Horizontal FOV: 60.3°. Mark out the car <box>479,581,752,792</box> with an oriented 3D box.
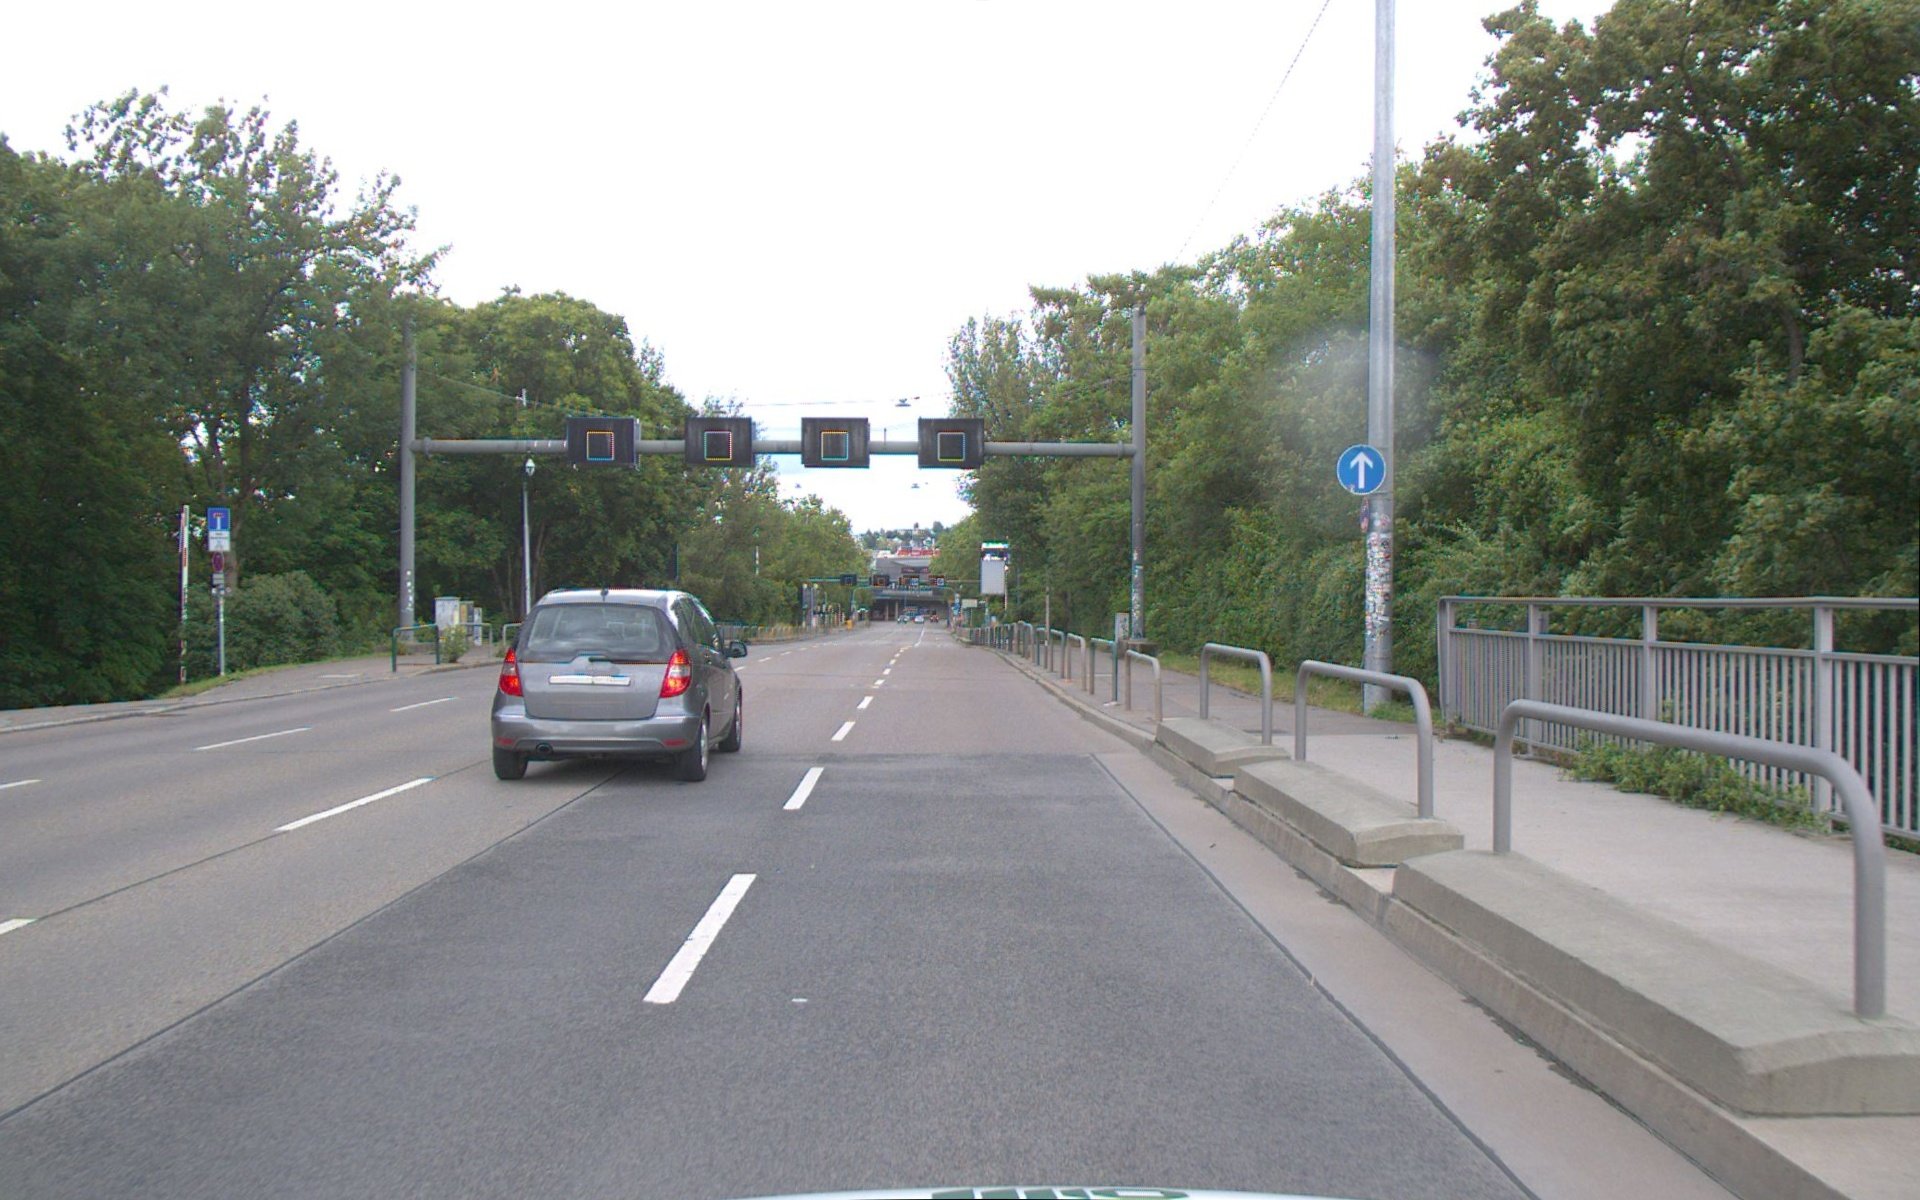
[{"bbox_3d":[-2.930,0.658,14.840,1.710,1.577,3.870,1,1,-1],"label":"car"}]
